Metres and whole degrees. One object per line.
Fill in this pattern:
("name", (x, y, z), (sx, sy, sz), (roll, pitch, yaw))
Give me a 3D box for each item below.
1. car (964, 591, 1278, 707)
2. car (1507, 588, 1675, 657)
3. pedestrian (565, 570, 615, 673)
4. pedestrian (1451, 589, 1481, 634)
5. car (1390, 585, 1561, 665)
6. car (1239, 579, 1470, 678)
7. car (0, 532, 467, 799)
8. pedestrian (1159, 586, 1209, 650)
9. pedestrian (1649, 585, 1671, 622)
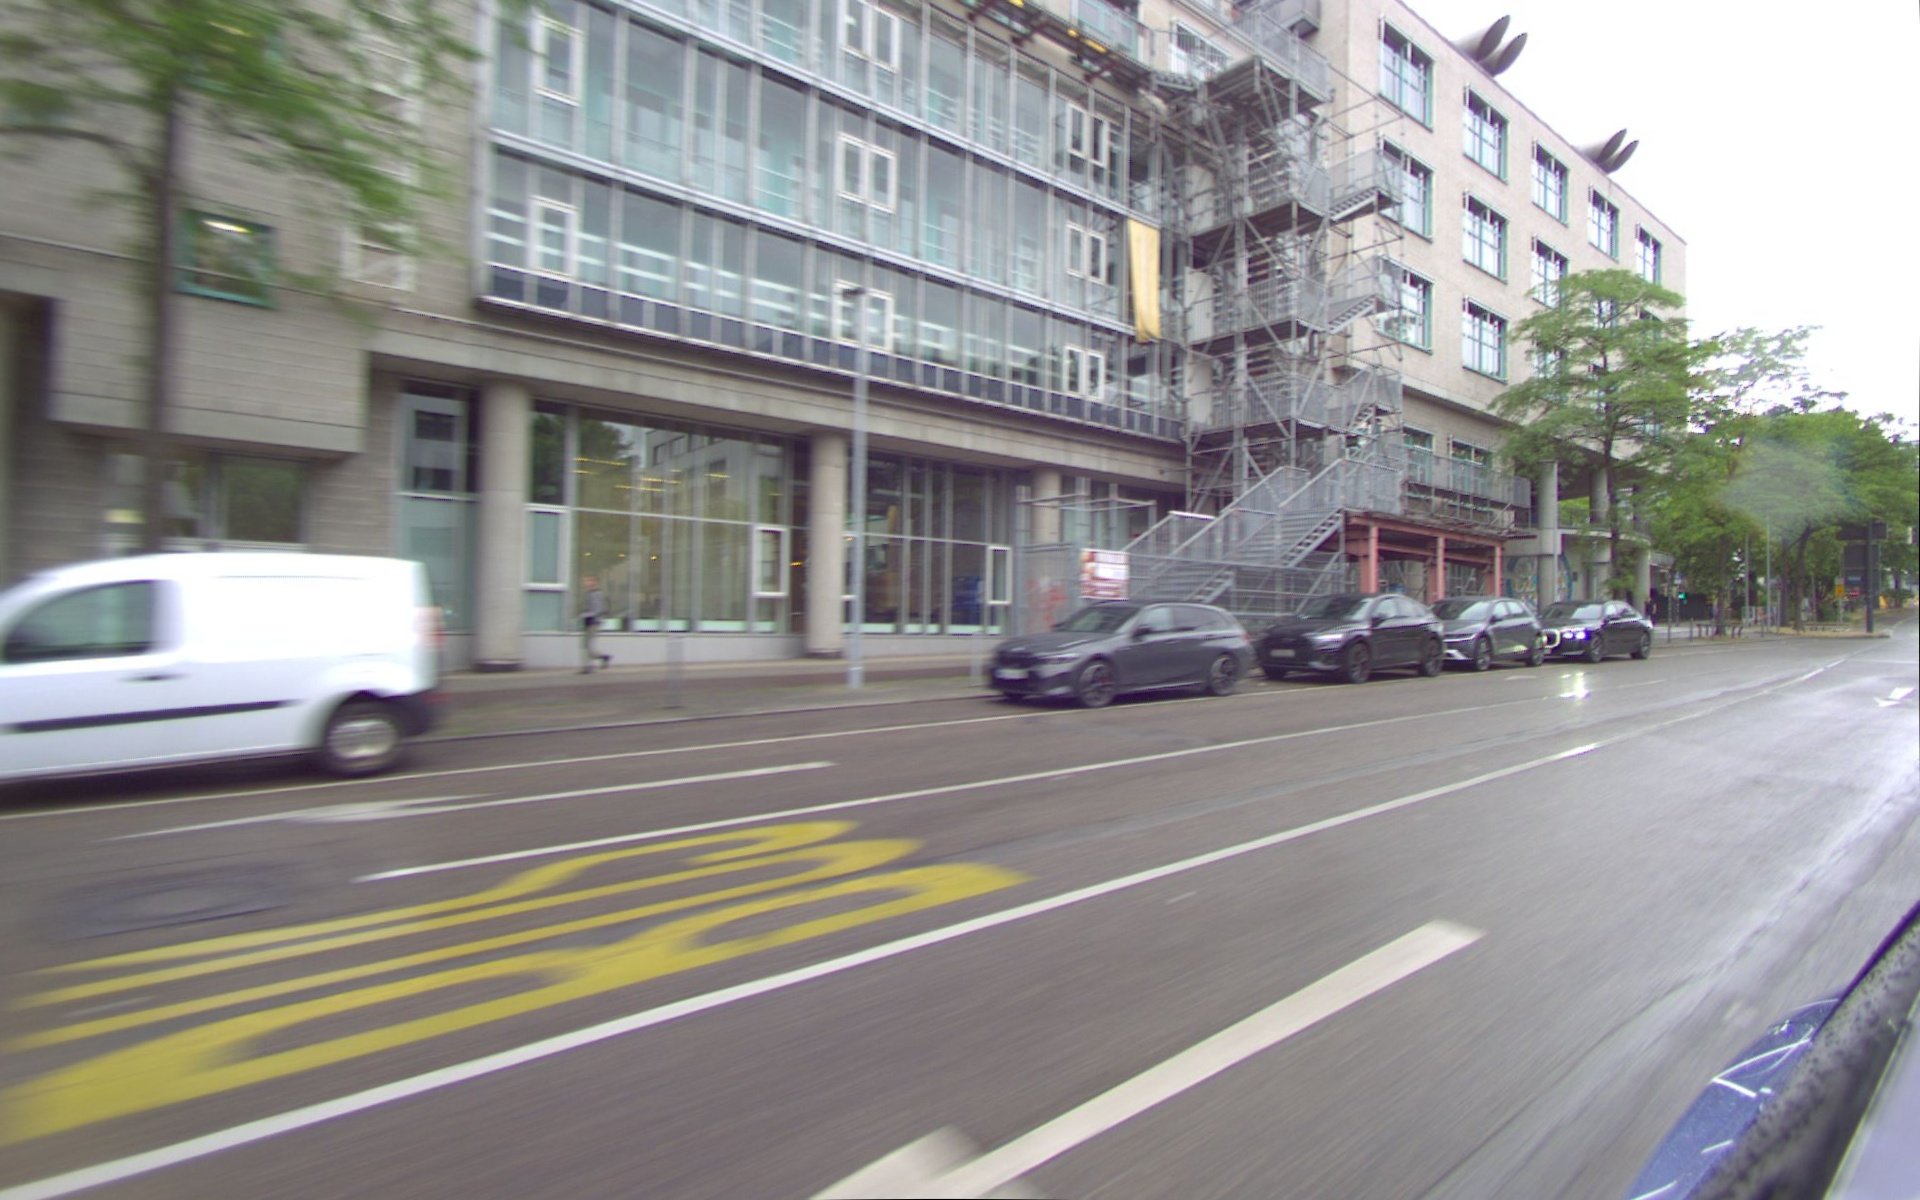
("car", (2.522, 0.626, 15.085), (4.831, 1.455, 1.873), (0, 0, -39))
("car", (16.399, 0.540, 26.201), (5.191, 1.621, 1.999), (0, 0, -38))
("pedestrian", (-6.516, 0.354, 17.807), (0.641, 1.764, 0.678), (0, 0, -38))
("pedestrian", (18.395, 0.422, 36.778), (0.908, 1.616, 0.704), (1, 0, -43))
("car", (11.671, 0.517, 22.783), (4.512, 1.621, 1.865), (0, 0, -41))
("car", (7.634, 0.487, 19.379), (4.774, 1.667, 1.998), (0, 0, -39))
("car", (-6.525, 0.425, 7.915), (4.447, 1.772, 1.997), (0, 0, -41))
("pedestrian", (5.874, 0.454, 26.520), (0.818, 1.616, 1.095), (0, 0, 45))
("pedestrian", (38.130, 0.189, 55.135), (0.746, 2.039, 0.869), (1, -1, -45))
